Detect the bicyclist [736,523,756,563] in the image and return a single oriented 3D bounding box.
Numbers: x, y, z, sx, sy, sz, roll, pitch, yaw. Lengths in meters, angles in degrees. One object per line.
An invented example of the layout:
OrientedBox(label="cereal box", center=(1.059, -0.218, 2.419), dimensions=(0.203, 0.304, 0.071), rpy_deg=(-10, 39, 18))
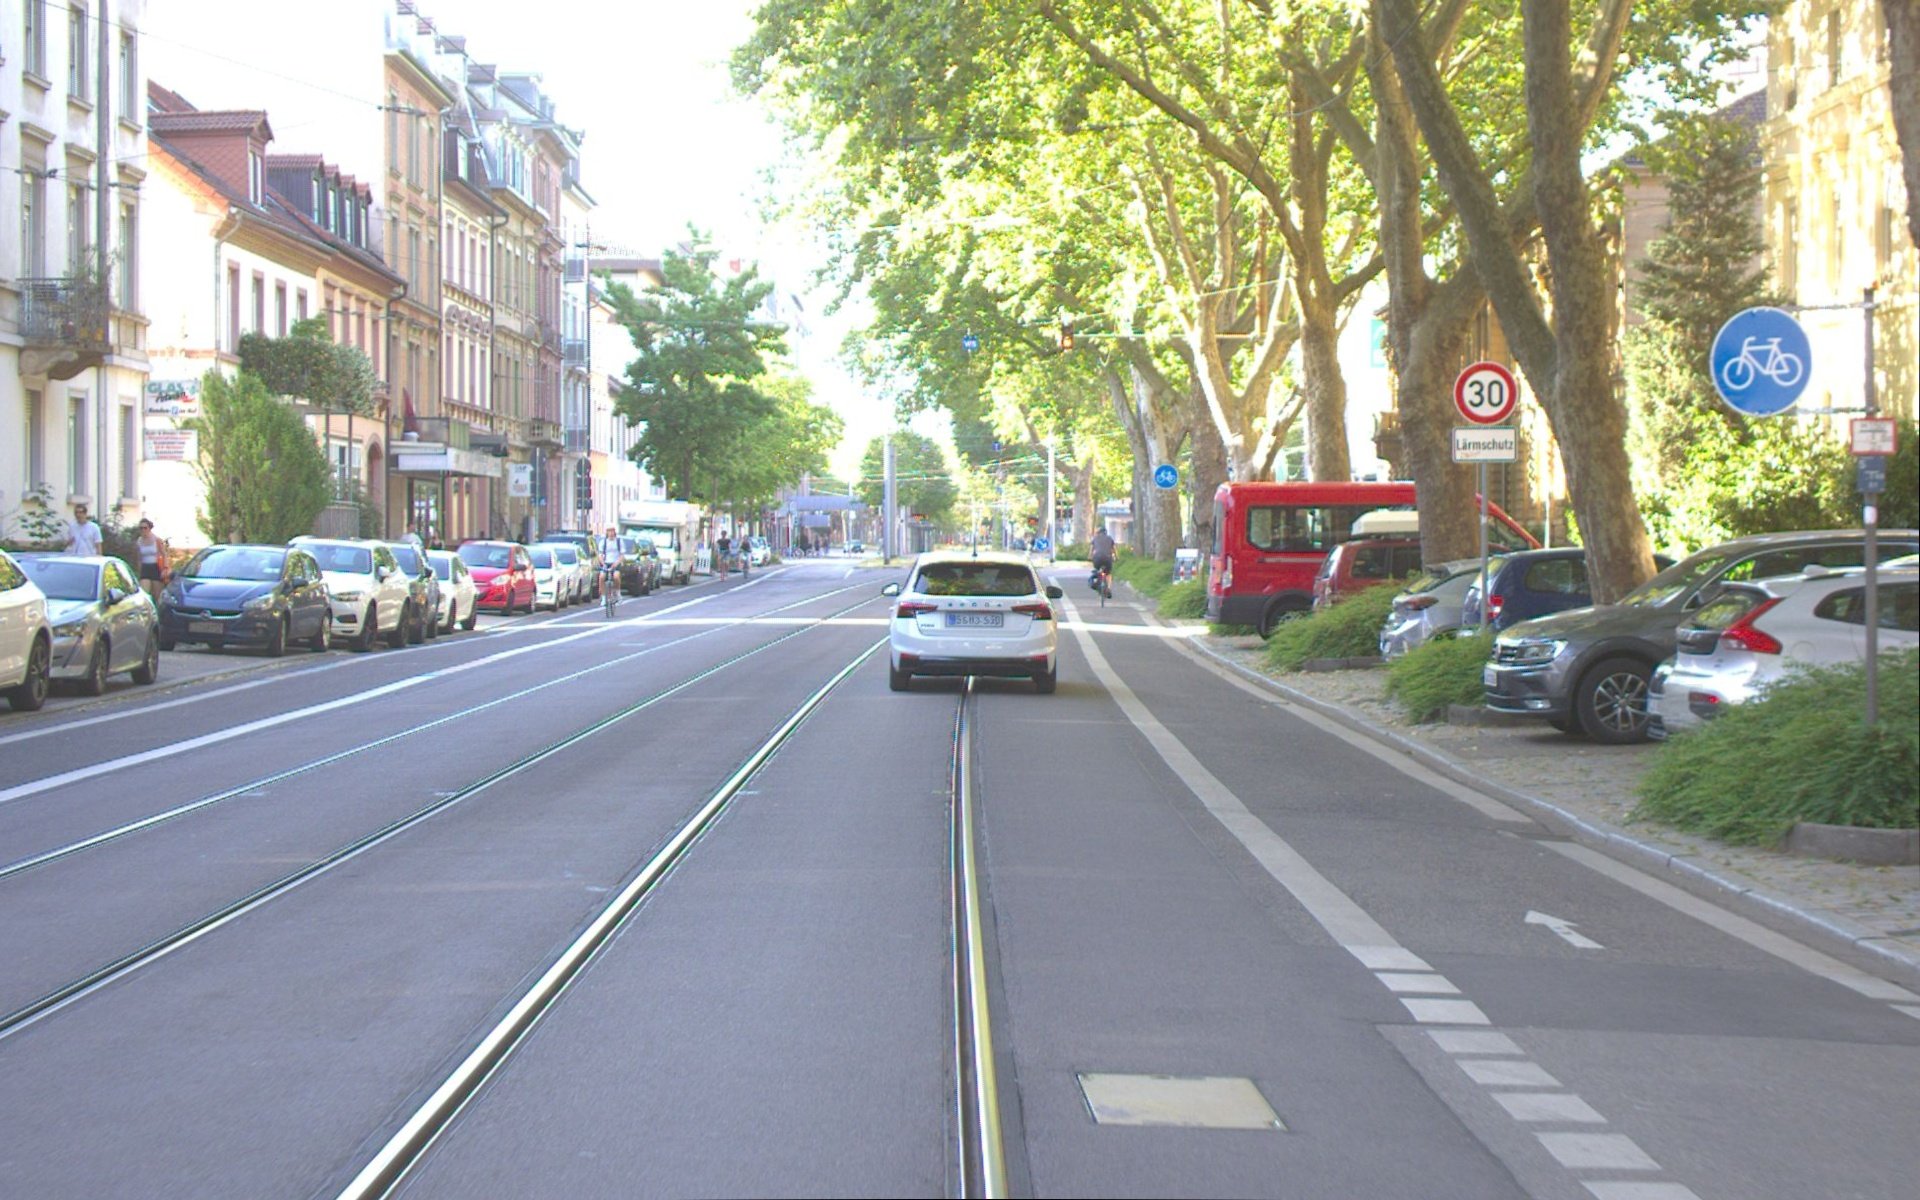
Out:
OrientedBox(label="bicyclist", center=(-8.119, -2.178, 130.418), dimensions=(0.638, 1.498, 1.069), rpy_deg=(-1, 1, 1))

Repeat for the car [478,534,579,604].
OrientedBox(label="car", center=(-9.798, -0.725, 78.370), dimensions=(1.827, 1.497, 4.689), rpy_deg=(1, 1, -2))

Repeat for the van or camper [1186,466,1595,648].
OrientedBox(label="van or camper", center=(6.473, -0.682, 52.209), dimensions=(5.814, 2.510, 2.288), rpy_deg=(-2, 2, -2))

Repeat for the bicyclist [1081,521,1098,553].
OrientedBox(label="bicyclist", center=(6.429, -3.151, 171.090), dimensions=(0.737, 1.583, 0.586), rpy_deg=(0, 1, 13))

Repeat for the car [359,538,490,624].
OrientedBox(label="car", center=(-9.743, -0.373, 62.788), dimensions=(1.687, 1.472, 4.258), rpy_deg=(1, 1, 0))

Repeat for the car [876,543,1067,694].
OrientedBox(label="car", center=(0.070, 0.154, 36.114), dimensions=(1.842, 1.475, 3.839), rpy_deg=(1, 1, -2))

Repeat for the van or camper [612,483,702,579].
OrientedBox(label="van or camper", center=(-10.339, -2.363, 117.835), dimensions=(2.217, 3.129, 7.113), rpy_deg=(1, 1, 2))

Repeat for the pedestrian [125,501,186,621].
OrientedBox(label="pedestrian", center=(-12.250, -0.595, 52.370), dimensions=(0.759, 1.815, 0.830), rpy_deg=(0, 1, -3))

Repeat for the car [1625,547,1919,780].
OrientedBox(label="car", center=(7.148, 0.431, 25.597), dimensions=(4.027, 1.638, 1.681), rpy_deg=(-1, 1, -2))

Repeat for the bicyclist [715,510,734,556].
OrientedBox(label="bicyclist", center=(-8.488, -2.415, 124.154), dimensions=(0.535, 1.629, 0.896), rpy_deg=(-2, 1, 2))

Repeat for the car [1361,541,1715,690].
OrientedBox(label="car", center=(6.347, 0.154, 37.982), dimensions=(3.595, 1.512, 1.694), rpy_deg=(-2, 1, 0))

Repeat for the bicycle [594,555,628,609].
OrientedBox(label="bicycle", center=(-7.196, -0.386, 70.885), dimensions=(0.481, 1.082, 1.846), rpy_deg=(0, 1, 1))

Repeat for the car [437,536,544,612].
OrientedBox(label="car", center=(-9.905, -0.566, 72.704), dimensions=(1.569, 1.557, 3.448), rpy_deg=(0, 1, 4))

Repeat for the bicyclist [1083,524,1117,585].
OrientedBox(label="bicyclist", center=(3.065, -0.999, 75.315), dimensions=(0.679, 1.334, 0.525), rpy_deg=(1, 1, 0))

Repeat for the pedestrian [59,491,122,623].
OrientedBox(label="pedestrian", center=(-13.285, -0.663, 52.544), dimensions=(0.759, 2.007, 0.830), rpy_deg=(0, 1, -2))

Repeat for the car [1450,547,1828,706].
OrientedBox(label="car", center=(6.962, 0.258, 35.457), dimensions=(3.595, 1.594, 1.541), rpy_deg=(0, 0, 1))

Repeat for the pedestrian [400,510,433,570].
OrientedBox(label="pedestrian", center=(-14.974, -1.652, 94.708), dimensions=(0.771, 1.628, 0.657), rpy_deg=(1, 1, -15))

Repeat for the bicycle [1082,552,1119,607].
OrientedBox(label="bicycle", center=(3.066, -0.469, 75.043), dimensions=(0.680, 1.151, 2.964), rpy_deg=(1, 1, 0))

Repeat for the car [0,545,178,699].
OrientedBox(label="car", center=(-9.648, 0.193, 36.972), dimensions=(1.662, 1.515, 4.065), rpy_deg=(1, 1, -2))

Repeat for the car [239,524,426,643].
OrientedBox(label="car", center=(-9.397, -0.284, 51.866), dimensions=(1.857, 1.698, 4.763), rpy_deg=(0, 1, 1))

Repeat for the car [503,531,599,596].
OrientedBox(label="car", center=(-9.925, -0.906, 83.659), dimensions=(1.827, 1.497, 4.450), rpy_deg=(1, 1, -1))

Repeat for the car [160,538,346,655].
OrientedBox(label="car", center=(-9.592, -0.080, 46.900), dimensions=(1.554, 1.510, 3.924), rpy_deg=(0, 1, 3))

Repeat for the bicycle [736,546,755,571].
OrientedBox(label="bicycle", center=(-8.129, -1.575, 130.408), dimensions=(0.499, 0.940, 1.921), rpy_deg=(-2, 1, 2))

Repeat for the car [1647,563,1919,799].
OrientedBox(label="car", center=(6.799, 0.496, 23.019), dimensions=(4.027, 1.475, 1.681), rpy_deg=(-1, 1, -1))

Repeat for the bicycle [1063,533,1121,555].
OrientedBox(label="bicycle", center=(6.574, -2.780, 171.025), dimensions=(2.772, 0.996, 0.592), rpy_deg=(2, 1, 15))

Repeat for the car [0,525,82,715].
OrientedBox(label="car", center=(-9.587, 0.160, 31.585), dimensions=(1.786, 1.717, 4.719), rpy_deg=(1, 1, 0))

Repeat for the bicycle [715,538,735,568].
OrientedBox(label="bicycle", center=(-8.475, -1.703, 124.024), dimensions=(0.484, 1.044, 2.039), rpy_deg=(-2, 1, 2))

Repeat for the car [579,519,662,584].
OrientedBox(label="car", center=(-9.844, -1.430, 99.954), dimensions=(1.964, 1.775, 4.938), rpy_deg=(3, 1, -2))

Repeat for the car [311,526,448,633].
OrientedBox(label="car", center=(-9.612, -0.382, 57.227), dimensions=(1.856, 1.698, 4.660), rpy_deg=(0, 1, -5))

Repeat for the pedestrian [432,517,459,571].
OrientedBox(label="pedestrian", center=(-14.198, -1.550, 94.870), dimensions=(0.635, 1.455, 0.657), rpy_deg=(1, 1, -16))

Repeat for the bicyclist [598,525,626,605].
OrientedBox(label="bicyclist", center=(-7.184, -0.723, 71.005), dimensions=(0.473, 1.630, 0.800), rpy_deg=(0, 1, 1))

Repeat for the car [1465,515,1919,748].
OrientedBox(label="car", center=(6.521, 0.221, 28.627), dimensions=(4.261, 1.713, 1.849), rpy_deg=(-2, 1, -2))
